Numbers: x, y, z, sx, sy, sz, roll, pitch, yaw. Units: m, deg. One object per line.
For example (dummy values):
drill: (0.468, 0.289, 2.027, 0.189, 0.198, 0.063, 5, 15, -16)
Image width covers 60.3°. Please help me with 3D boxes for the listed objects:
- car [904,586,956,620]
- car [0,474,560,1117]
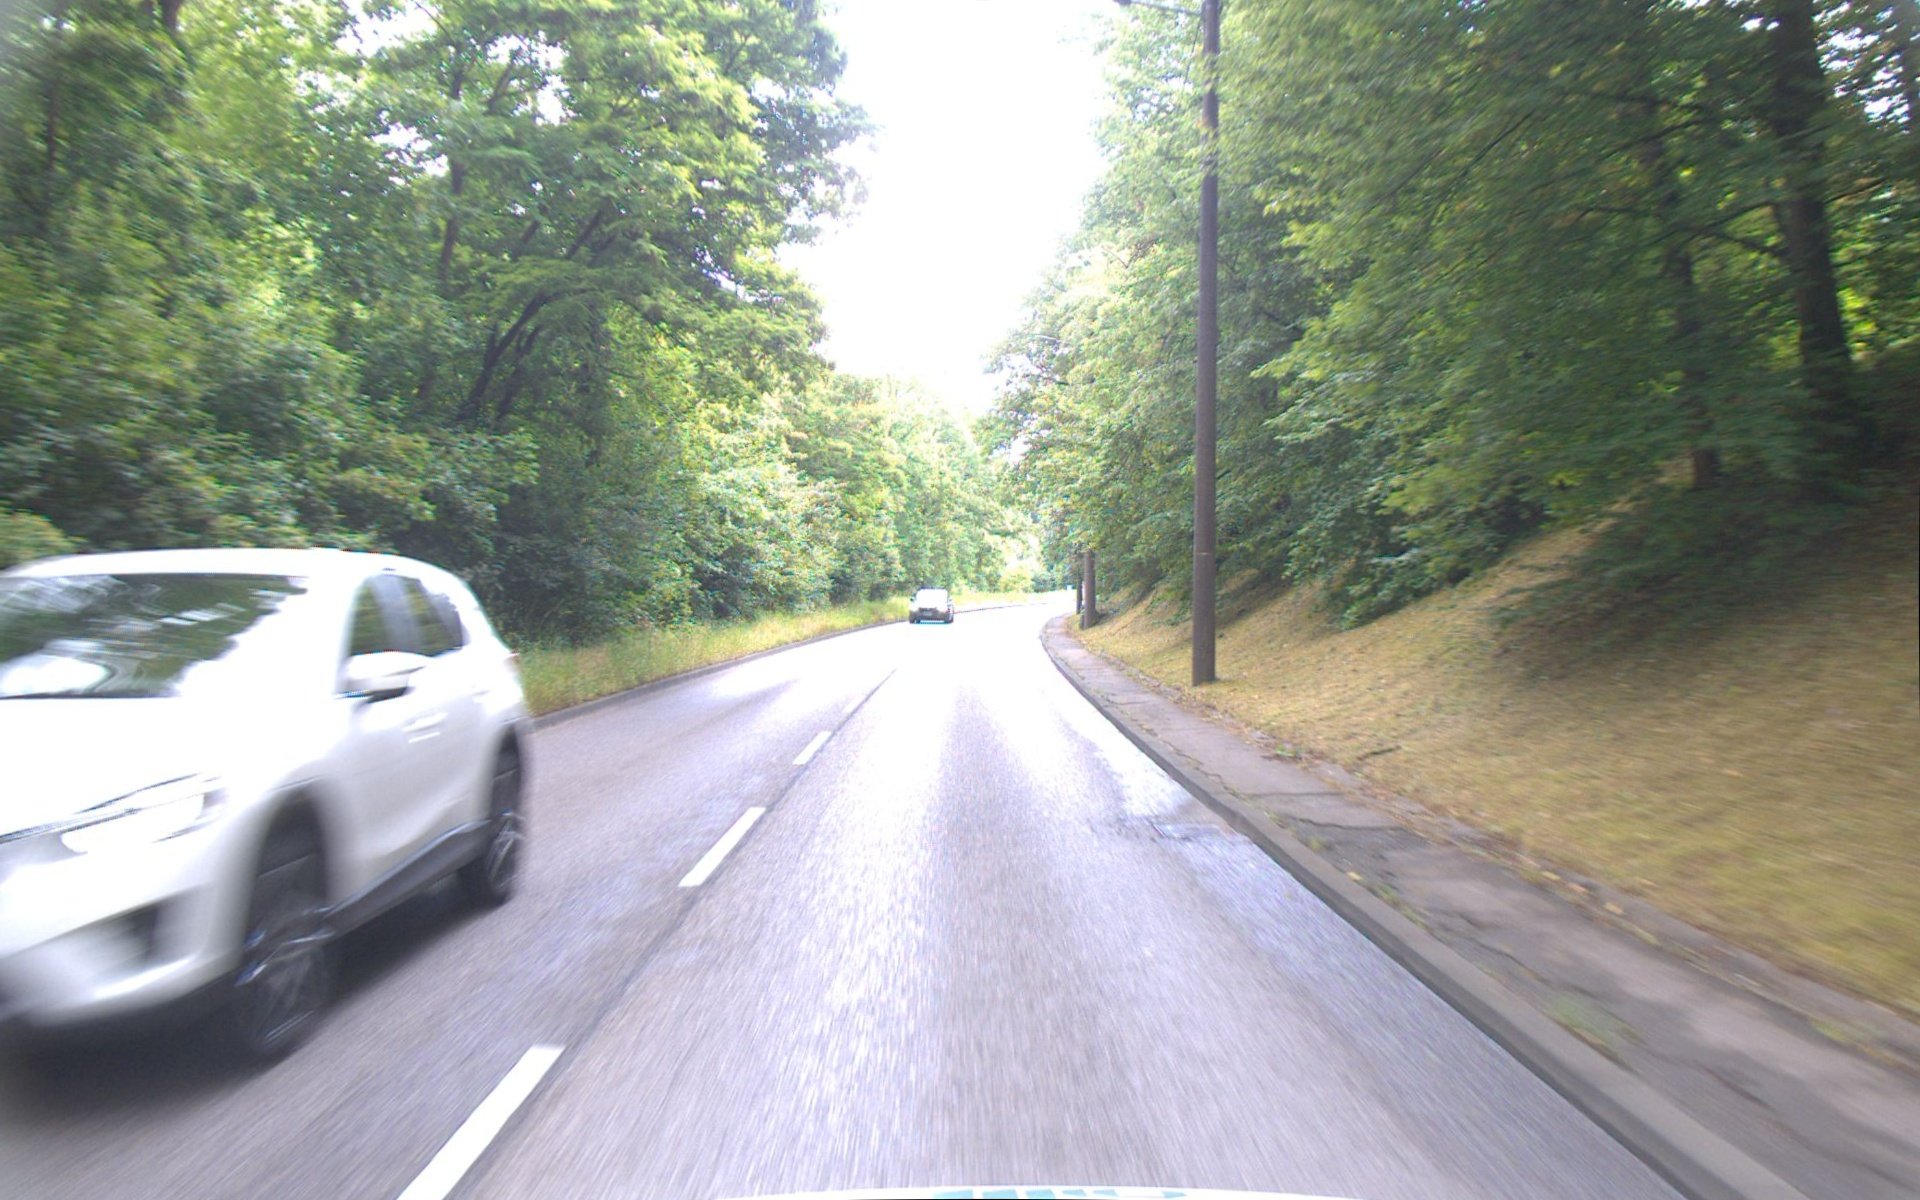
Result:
car: (-1.369, 0.153, 74.148, 1.955, 1.462, 3.995, 1, -1, -6)
car: (-2.960, 0.534, 6.587, 1.782, 1.724, 4.286, 1, -1, -2)
